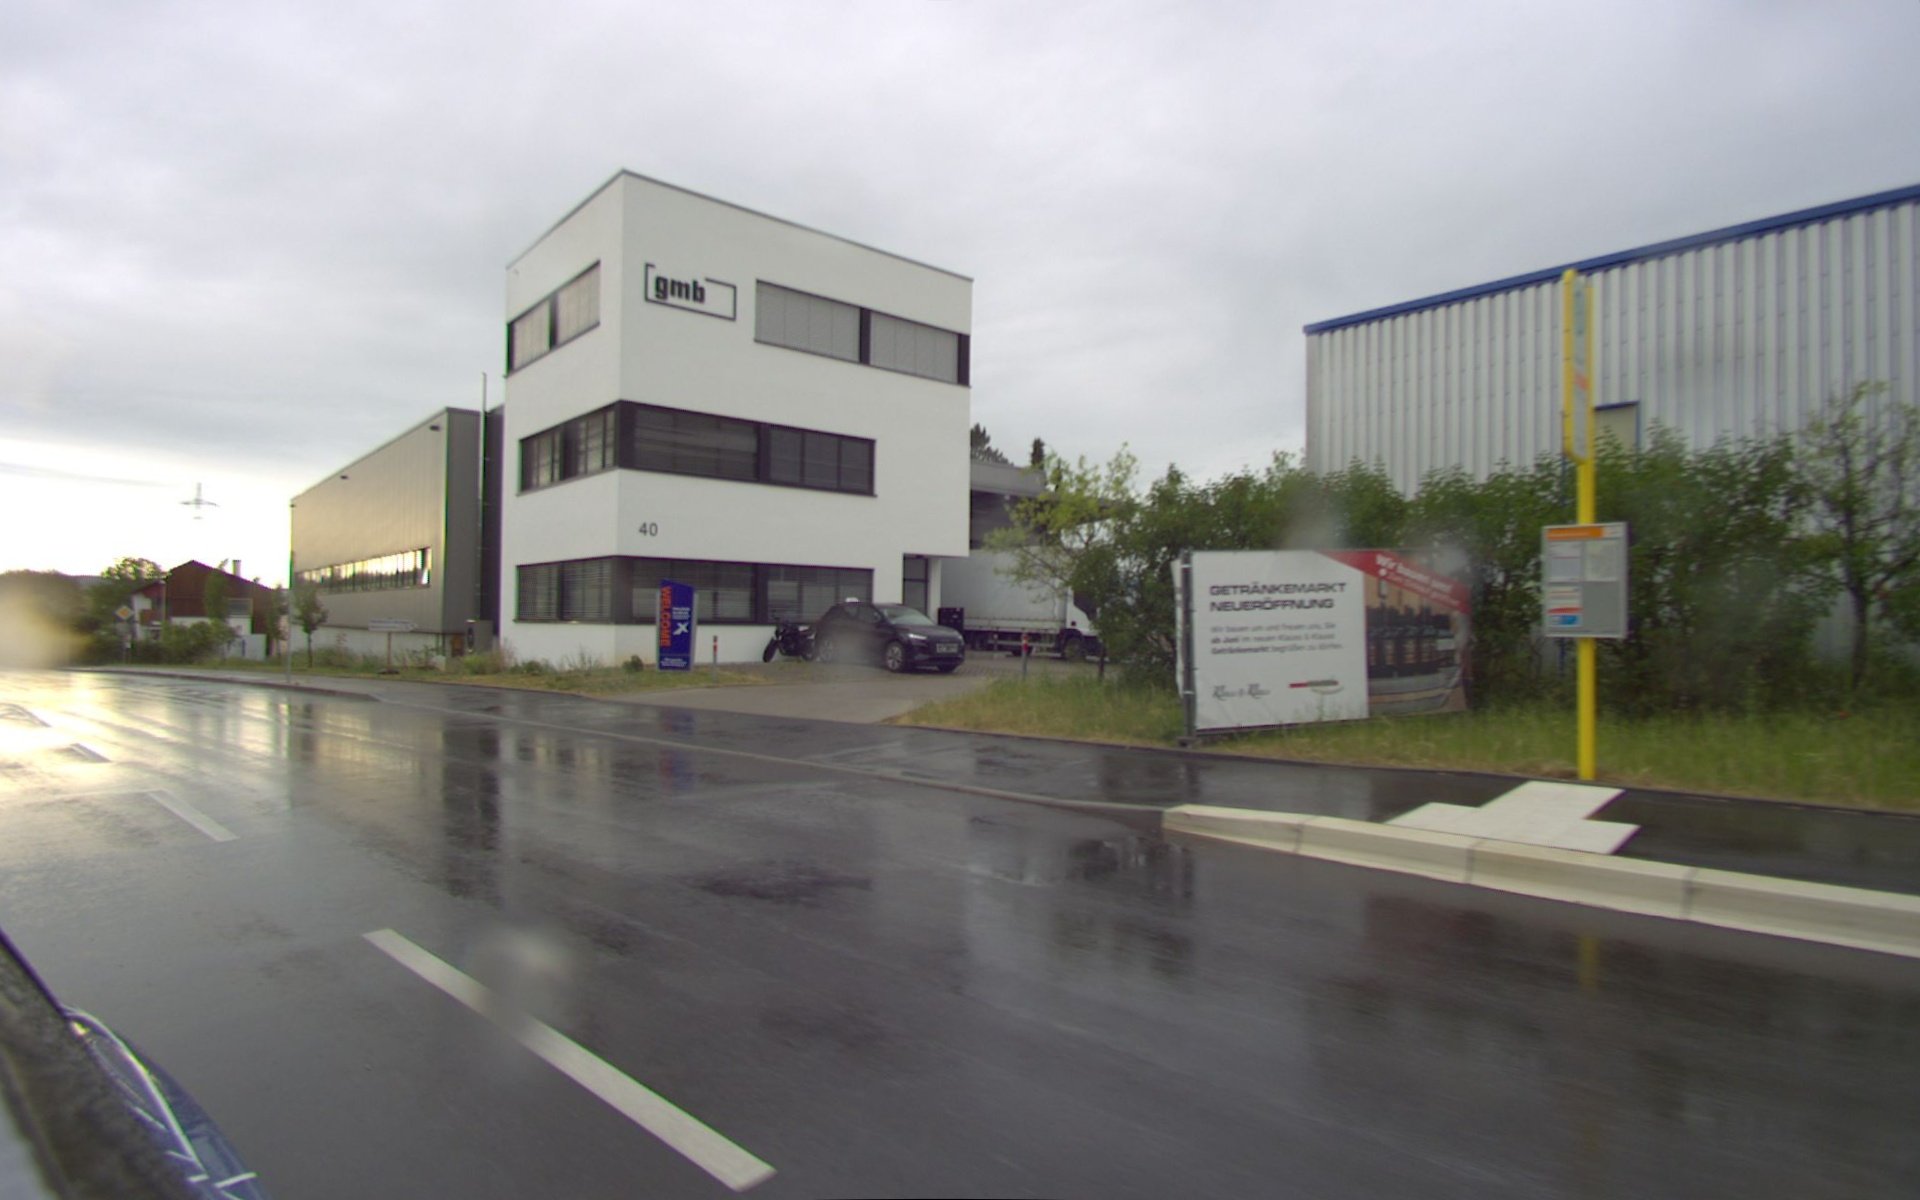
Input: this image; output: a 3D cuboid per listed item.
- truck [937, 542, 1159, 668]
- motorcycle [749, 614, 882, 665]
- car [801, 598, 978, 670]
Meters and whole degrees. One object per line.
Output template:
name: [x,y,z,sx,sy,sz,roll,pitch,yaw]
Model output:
truck: [2.611,0.219,32.578,2.636,3.604,7.347,0,-1,-40]
motorcycle: [-3.794,1.021,27.001,3.639,1.253,0.778,0,-1,-40]
car: [-1.839,0.831,25.076,1.831,1.608,4.609,0,-2,-44]
